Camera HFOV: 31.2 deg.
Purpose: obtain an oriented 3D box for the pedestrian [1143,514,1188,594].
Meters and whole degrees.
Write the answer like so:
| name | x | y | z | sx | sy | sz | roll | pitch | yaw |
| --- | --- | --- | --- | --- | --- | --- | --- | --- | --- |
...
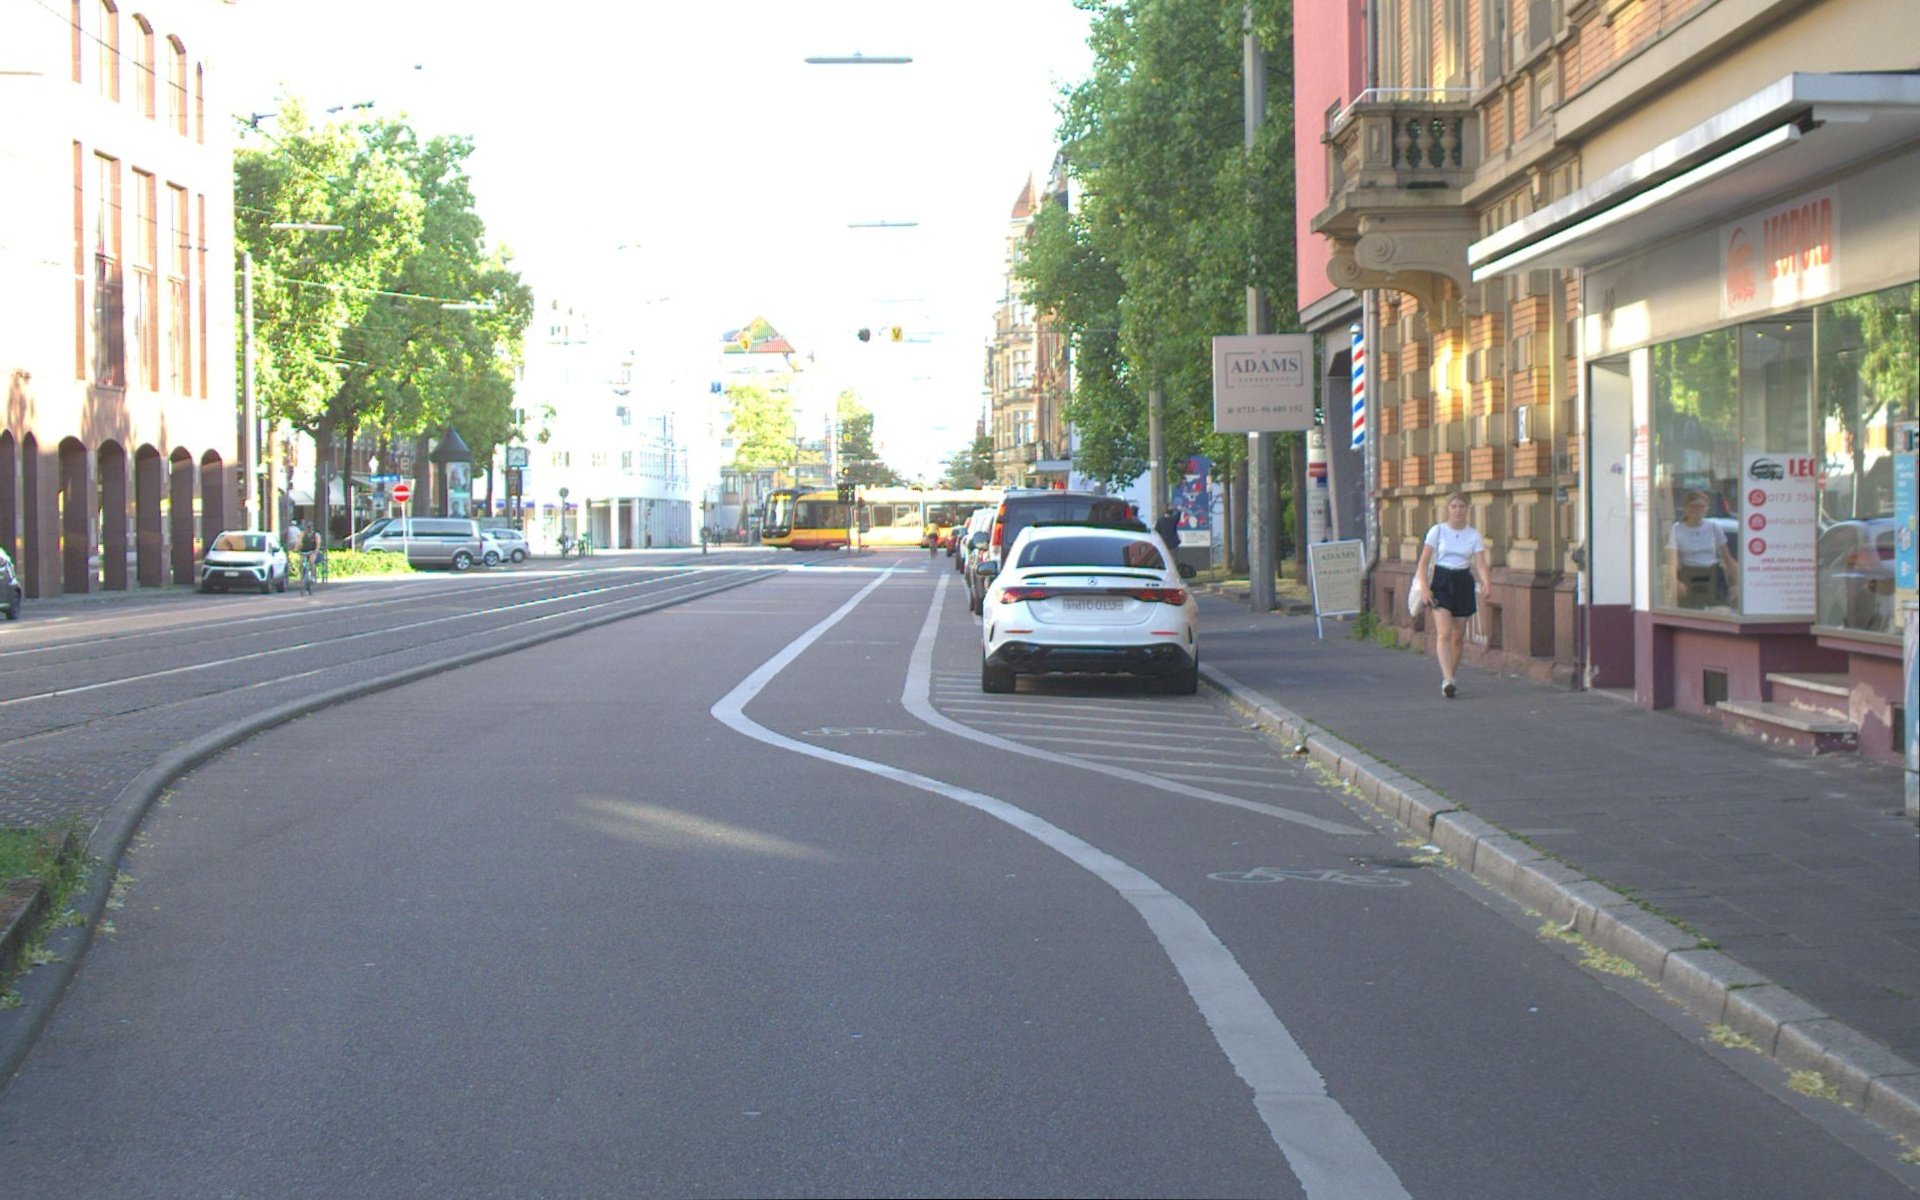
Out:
| name | x | y | z | sx | sy | sz | roll | pitch | yaw |
| --- | --- | --- | --- | --- | --- | --- | --- | --- | --- |
| pedestrian | 4.149 | -0.938 | 69.435 | 0.776 | 1.561 | 0.914 | -3 | 1 | 1 |

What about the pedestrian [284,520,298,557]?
| name | x | y | z | sx | sy | sz | roll | pitch | yaw |
| --- | --- | --- | --- | --- | --- | --- | --- | --- | --- |
| pedestrian | -24.088 | -2.215 | 123.777 | 0.362 | 1.338 | 0.483 | 2 | 1 | -20 |

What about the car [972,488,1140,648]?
| name | x | y | z | sx | sy | sz | roll | pitch | yaw |
| --- | --- | --- | --- | --- | --- | --- | --- | --- | --- |
| car | 1.184 | -0.432 | 43.345 | 1.955 | 1.862 | 4.989 | 1 | 1 | 1 |

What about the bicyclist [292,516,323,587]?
| name | x | y | z | sx | sy | sz | roll | pitch | yaw |
| --- | --- | --- | --- | --- | --- | --- | --- | --- | --- |
| bicyclist | -15.945 | -1.184 | 84.055 | 0.571 | 1.706 | 0.746 | -2 | 1 | -2 |

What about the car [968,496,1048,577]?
| name | x | y | z | sx | sy | sz | roll | pitch | yaw |
| --- | --- | --- | --- | --- | --- | --- | --- | --- | --- |
| car | 1.228 | -1.653 | 89.093 | 1.971 | 2.007 | 4.558 | -1 | 1 | 1 |

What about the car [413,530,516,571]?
| name | x | y | z | sx | sy | sz | roll | pitch | yaw |
| --- | --- | --- | --- | --- | --- | --- | --- | --- | --- |
| car | -21.127 | -2.122 | 146.501 | 3.868 | 1.622 | 1.876 | 1 | 1 | -31 |

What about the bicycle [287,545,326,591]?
| name | x | y | z | sx | sy | sz | roll | pitch | yaw |
| --- | --- | --- | --- | --- | --- | --- | --- | --- | --- |
| bicycle | -15.929 | -0.787 | 83.866 | 0.582 | 1.074 | 2.186 | -2 | 1 | -2 |

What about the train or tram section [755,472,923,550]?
| name | x | y | z | sx | sy | sz | roll | pitch | yaw |
| --- | --- | --- | --- | --- | --- | --- | --- | --- | --- |
| train or tram section | -6.692 | -4.952 | 192.511 | 2.697 | 3.946 | 12.066 | 3 | 1 | 34 |

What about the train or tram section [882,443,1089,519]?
| name | x | y | z | sx | sy | sz | roll | pitch | yaw |
| --- | --- | --- | --- | --- | --- | --- | --- | --- | --- |
| train or tram section | 1.581 | -6.943 | 201.075 | 12.802 | 3.865 | 2.701 | 2 | 1 | -35 |

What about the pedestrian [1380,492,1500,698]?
| name | x | y | z | sx | sy | sz | roll | pitch | yaw |
| --- | --- | --- | --- | --- | --- | --- | --- | --- | --- |
| pedestrian | 3.786 | -0.051 | 27.165 | 0.776 | 1.561 | 0.913 | -3 | 1 | 3 |

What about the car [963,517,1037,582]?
| name | x | y | z | sx | sy | sz | roll | pitch | yaw |
| --- | --- | --- | --- | --- | --- | --- | --- | --- | --- |
| car | 0.886 | -1.162 | 78.193 | 1.621 | 1.427 | 3.985 | 1 | 1 | 0 |

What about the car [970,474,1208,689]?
| name | x | y | z | sx | sy | sz | roll | pitch | yaw |
| --- | --- | --- | --- | --- | --- | --- | --- | --- | --- |
| car | 1.115 | -0.202 | 31.424 | 1.966 | 1.765 | 4.875 | 1 | 1 | 1 |

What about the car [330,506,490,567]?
| name | x | y | z | sx | sy | sz | roll | pitch | yaw |
| --- | --- | --- | --- | --- | --- | --- | --- | --- | --- |
| car | -20.336 | -2.327 | 127.214 | 5.252 | 2.036 | 2.419 | 2 | -1 | -32 |

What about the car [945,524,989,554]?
| name | x | y | z | sx | sy | sz | roll | pitch | yaw |
| --- | --- | --- | --- | --- | --- | --- | --- | --- | --- |
| car | 0.324 | -2.965 | 167.438 | 2.065 | 1.384 | 4.225 | 2 | 1 | 0 |

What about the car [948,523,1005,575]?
| name | x | y | z | sx | sy | sz | roll | pitch | yaw |
| --- | --- | --- | --- | --- | --- | --- | --- | --- | --- |
| car | 0.501 | -1.614 | 107.865 | 1.723 | 1.562 | 4.083 | -1 | 1 | -1 |

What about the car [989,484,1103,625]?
| name | x | y | z | sx | sy | sz | roll | pitch | yaw |
| --- | --- | --- | --- | --- | --- | --- | --- | --- | --- |
| car | 1.383 | -0.711 | 54.068 | 1.705 | 2.112 | 3.706 | 1 | 1 | 3 |

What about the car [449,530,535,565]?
| name | x | y | z | sx | sy | sz | roll | pitch | yaw |
| --- | --- | --- | --- | --- | --- | --- | --- | --- | --- |
| car | -21.358 | -2.379 | 156.798 | 3.519 | 1.476 | 1.582 | 1 | 1 | -32 |

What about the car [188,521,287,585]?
| name | x | y | z | sx | sy | sz | roll | pitch | yaw |
| --- | --- | --- | --- | --- | --- | --- | --- | --- | --- |
| car | -18.669 | -1.227 | 89.031 | 1.869 | 1.594 | 4.255 | 0 | 1 | -3 |

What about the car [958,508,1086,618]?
| name | x | y | z | sx | sy | sz | roll | pitch | yaw |
| --- | --- | --- | --- | --- | --- | --- | --- | --- | --- |
| car | 1.024 | -0.657 | 59.453 | 1.949 | 1.782 | 5.182 | 1 | 1 | -1 |

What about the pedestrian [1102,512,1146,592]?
| name | x | y | z | sx | sy | sz | roll | pitch | yaw |
| --- | --- | --- | --- | --- | --- | --- | --- | --- | --- |
| pedestrian | 3.313 | -0.973 | 69.472 | 0.776 | 1.561 | 0.914 | -3 | 1 | 1 |

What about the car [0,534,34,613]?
| name | x | y | z | sx | sy | sz | roll | pitch | yaw |
| --- | --- | --- | --- | --- | --- | --- | --- | --- | --- |
| car | -18.363 | -0.500 | 62.596 | 1.869 | 1.445 | 3.583 | 1 | 1 | 3 |
